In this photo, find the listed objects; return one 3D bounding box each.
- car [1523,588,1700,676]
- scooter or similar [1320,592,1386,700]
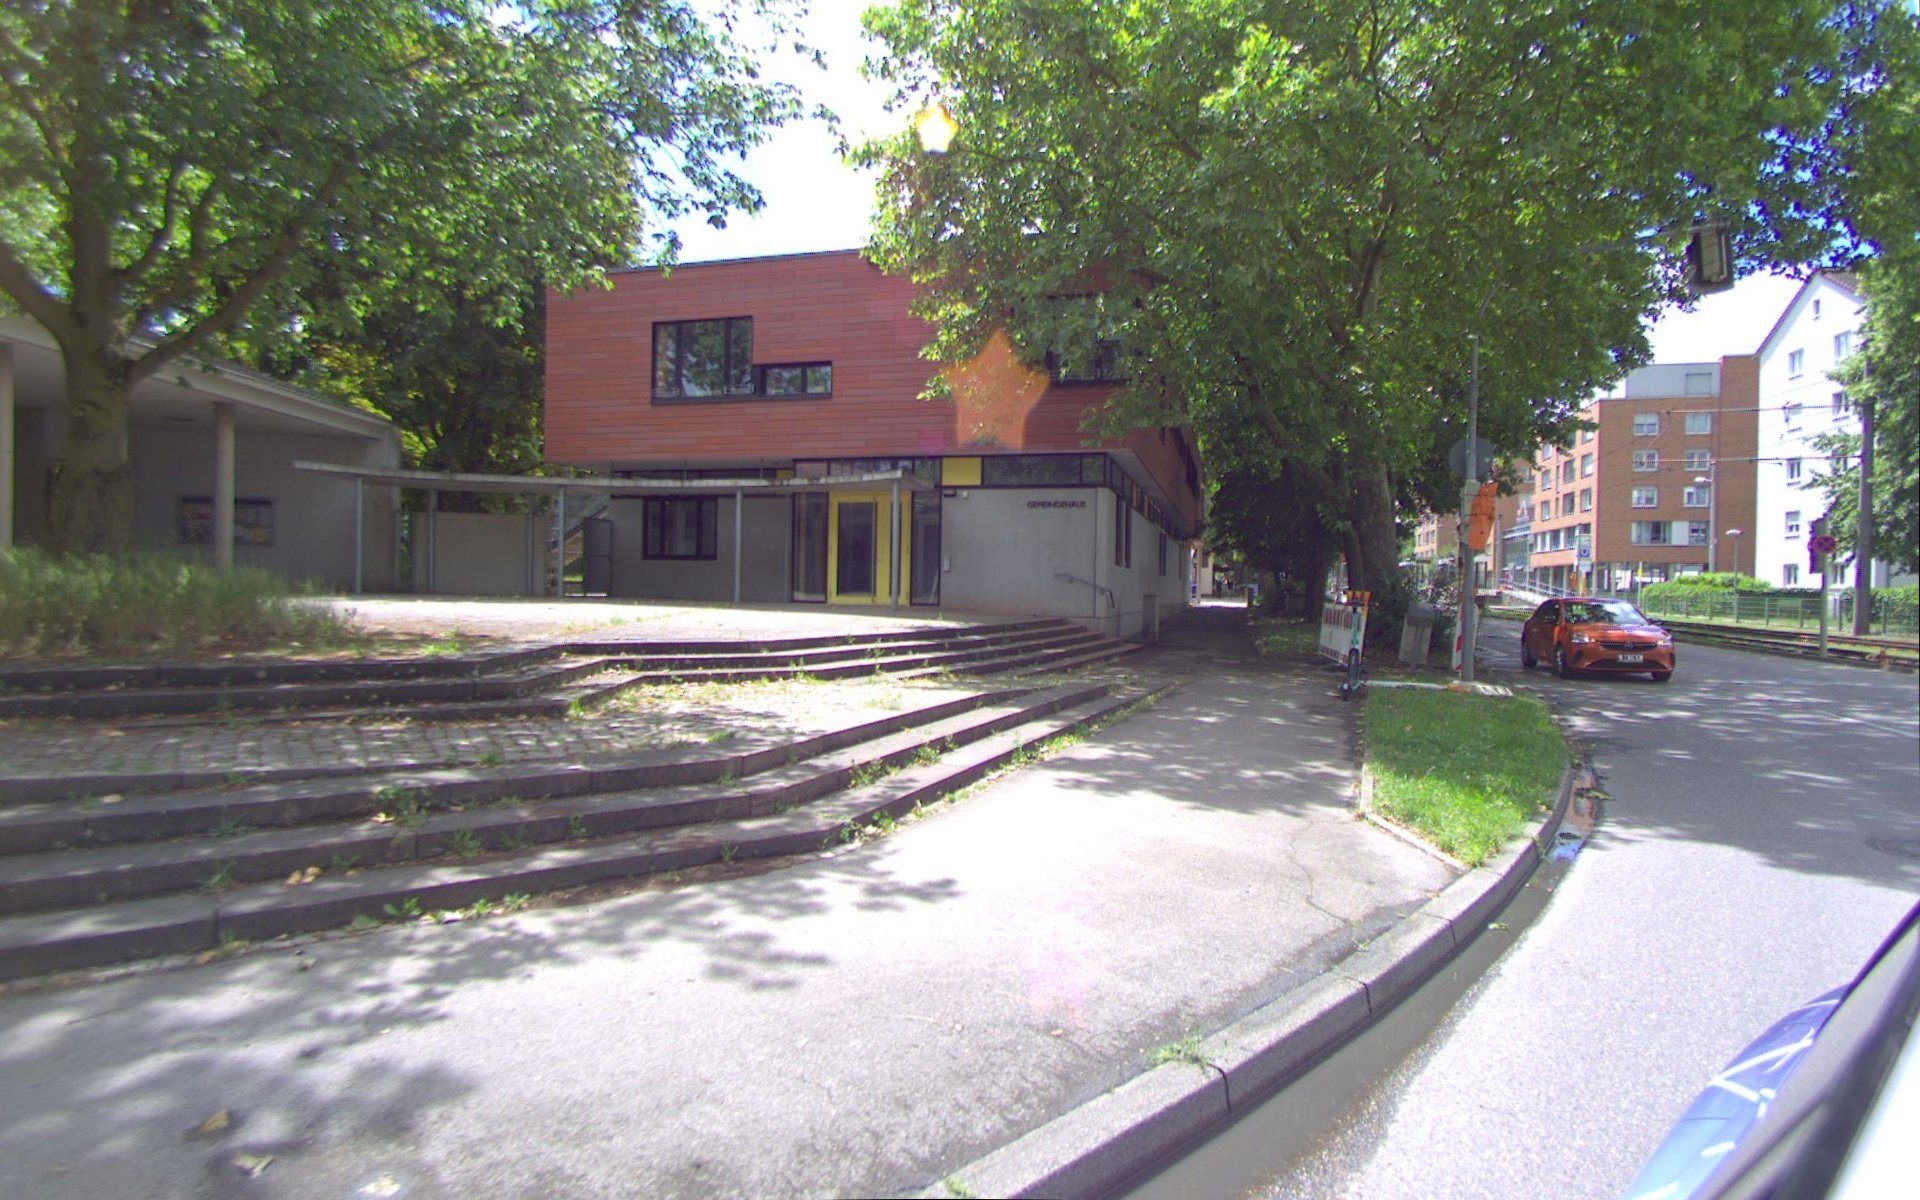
[{"bbox_3d":[11.955,0.530,18.857,1.746,1.452,3.818,0,0,16],"label":"car"},{"bbox_3d":[4.873,0.533,12.527,0.561,1.247,1.182,2,1,30],"label":"scooter or similar"}]
